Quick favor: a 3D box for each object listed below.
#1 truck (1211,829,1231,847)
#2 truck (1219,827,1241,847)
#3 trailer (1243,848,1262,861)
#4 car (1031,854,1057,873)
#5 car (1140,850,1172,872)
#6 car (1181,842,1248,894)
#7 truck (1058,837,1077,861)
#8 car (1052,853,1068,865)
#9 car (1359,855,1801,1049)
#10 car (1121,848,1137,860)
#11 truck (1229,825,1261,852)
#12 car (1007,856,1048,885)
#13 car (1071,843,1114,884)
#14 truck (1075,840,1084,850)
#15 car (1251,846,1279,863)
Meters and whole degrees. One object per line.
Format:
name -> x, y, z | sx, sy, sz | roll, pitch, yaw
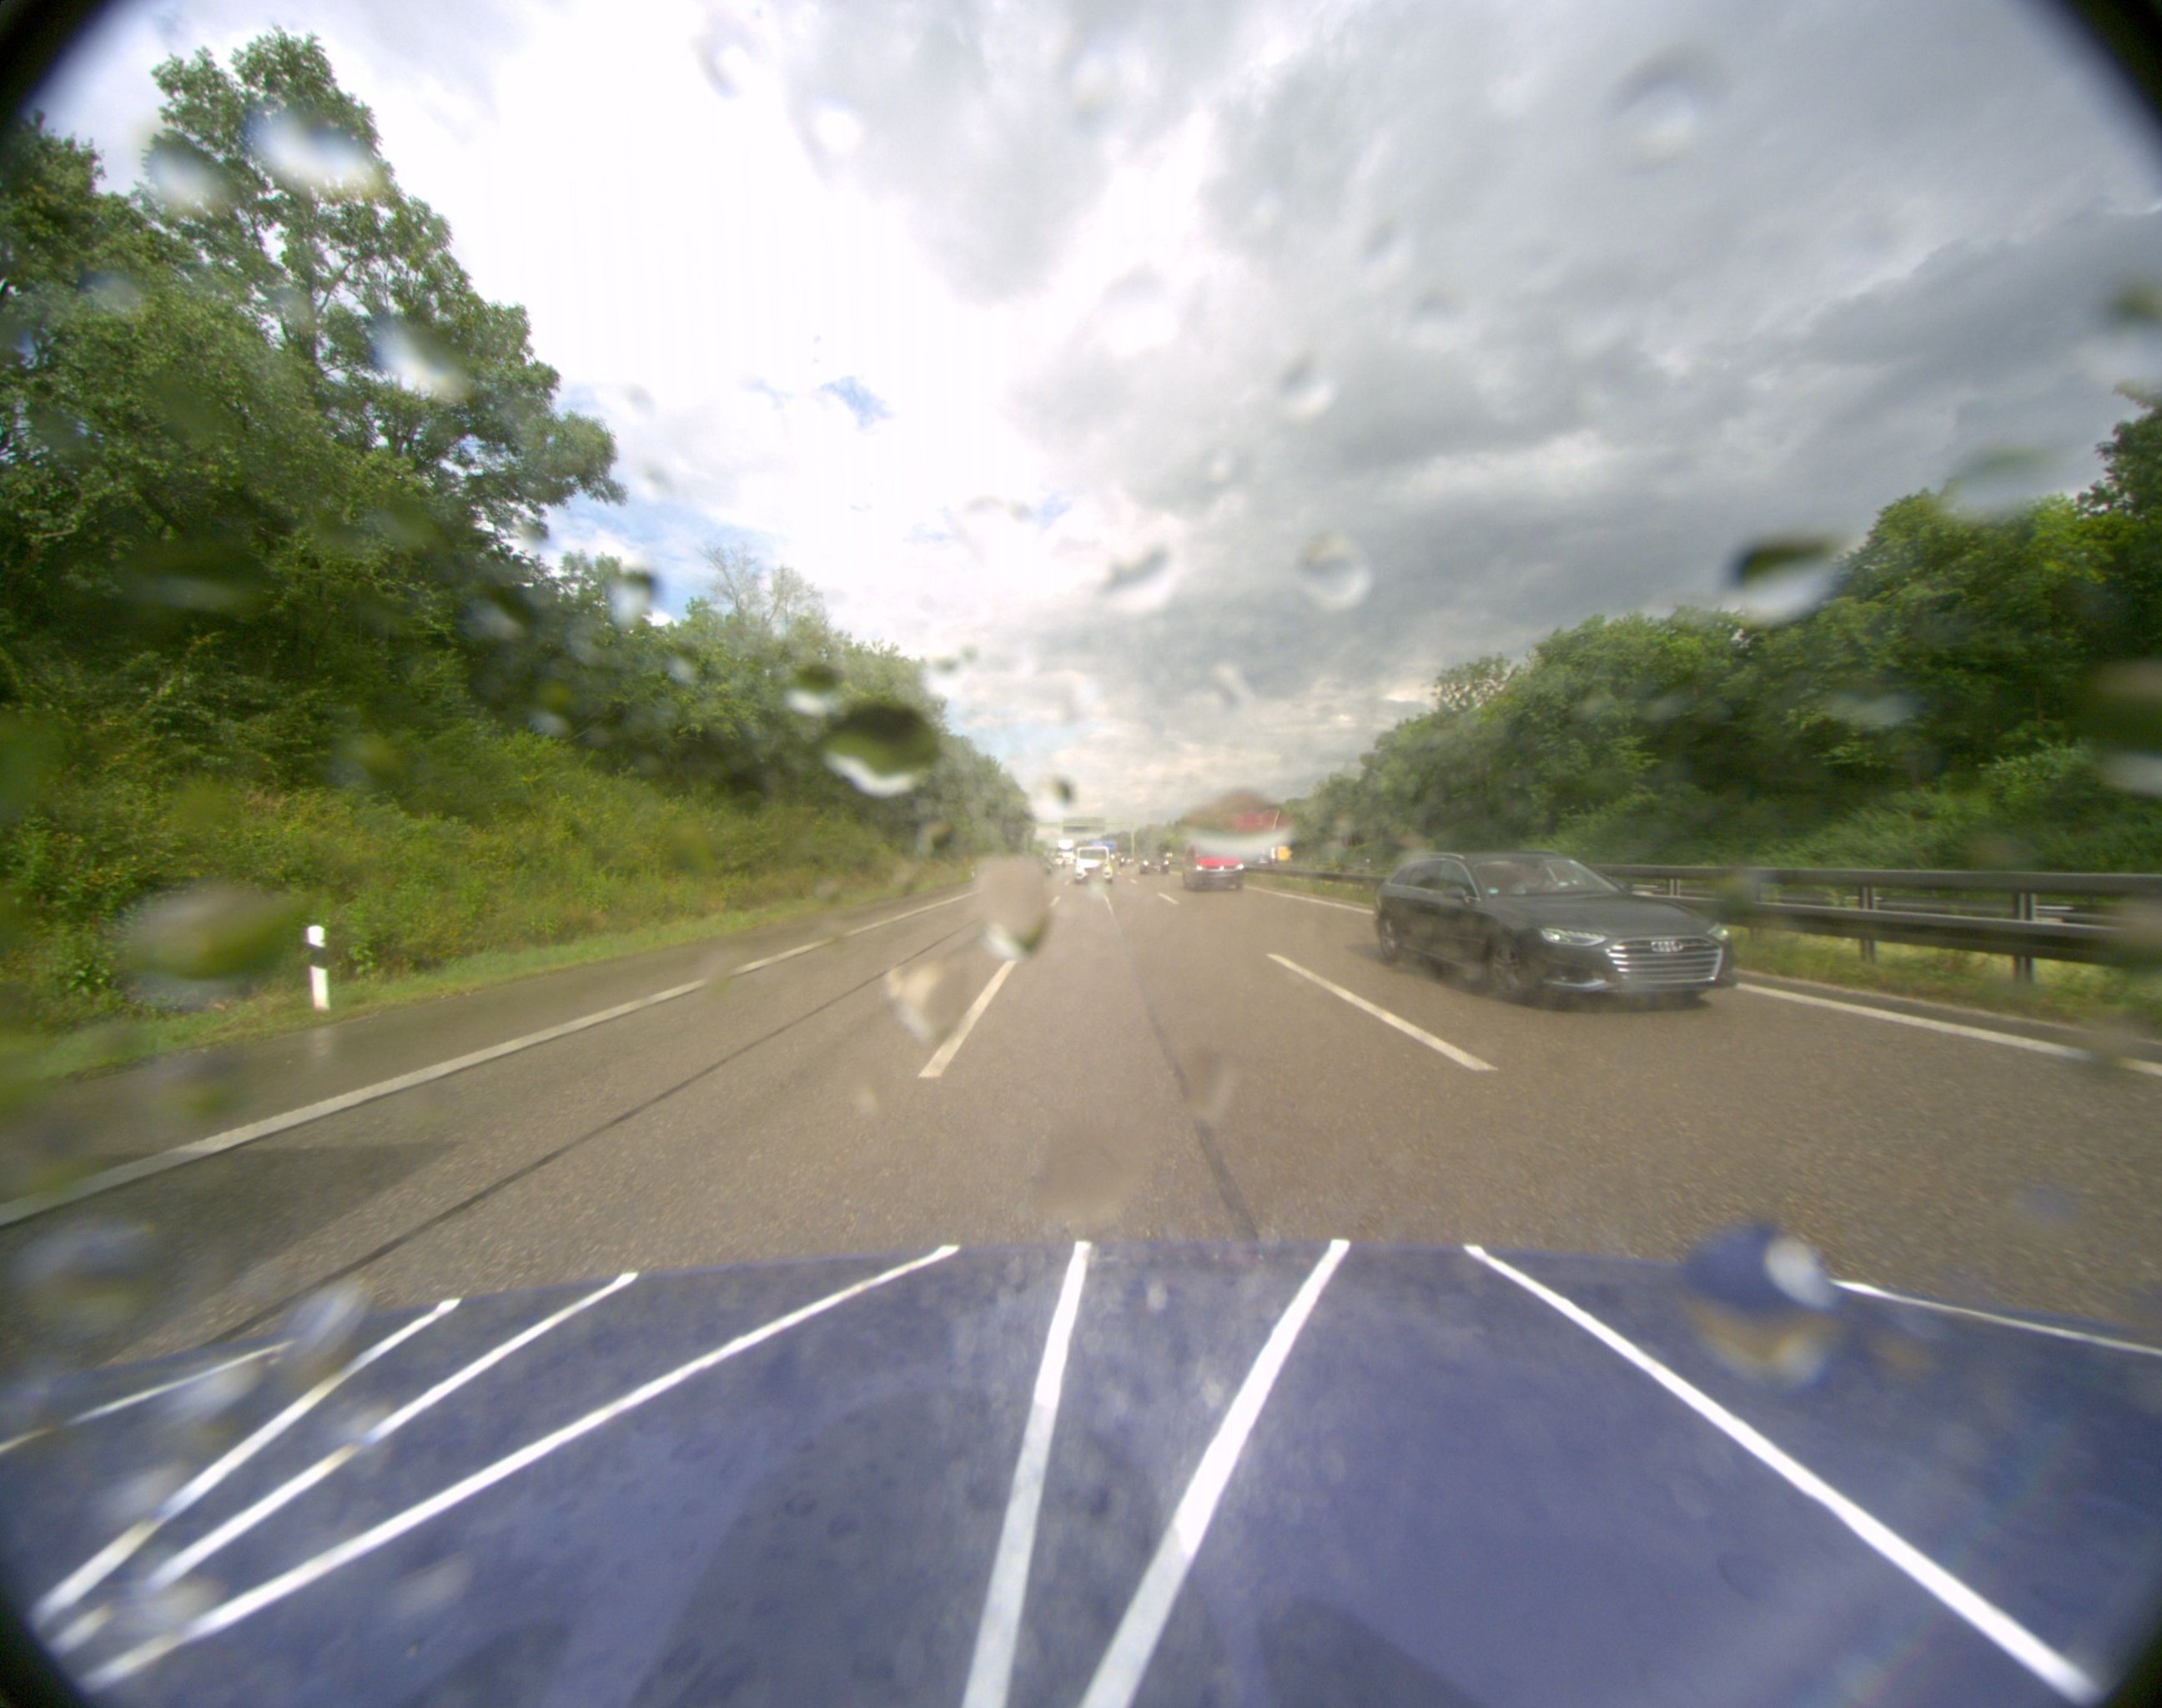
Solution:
truck -> 38.272, -4.336, 207.741 | 3.622, 4.693, 11.874 | -2, 1, 2
truck -> 37.114, -4.109, 189.699 | 3.622, 4.693, 11.874 | -2, 1, 2
trailer -> 22.958, 0.079, 101.677 | 1.589, 1.653, 3.878 | -2, 1, 1
car -> -3.100, 0.787, 64.236 | 1.798, 1.410, 4.839 | -2, 1, 2
car -> 5.560, 0.481, 56.713 | 2.009, 1.488, 4.839 | -2, 1, 2
car -> 5.285, 0.485, 30.636 | 1.926, 1.855, 4.839 | -2, 1, 2
truck -> -2.217, -0.861, 129.457 | 3.064, 3.827, 8.799 | 0, 0, 1
car -> -2.651, 0.587, 97.557 | 1.798, 1.410, 4.839 | -2, 1, 2
car -> 4.826, 0.782, 8.419 | 1.798, 1.410, 4.839 | -2, 1, 2
car -> 5.932, 0.020, 94.675 | 1.798, 1.410, 4.839 | -2, 1, 2
truck -> 30.264, -2.855, 140.772 | 3.622, 4.693, 11.874 | -2, 1, 2
car -> -2.956, 0.857, 42.679 | 1.798, 1.410, 4.839 | -2, 1, 2
car -> 0.660, 0.466, 41.225 | 2.124, 1.988, 5.982 | -2, 1, 2
truck -> -0.309, -2.032, 173.236 | 1.933, 2.417, 5.948 | 0, 0, 1
car -> 19.313, 0.022, 79.978 | 1.859, 1.653, 4.236 | -2, 1, 1
